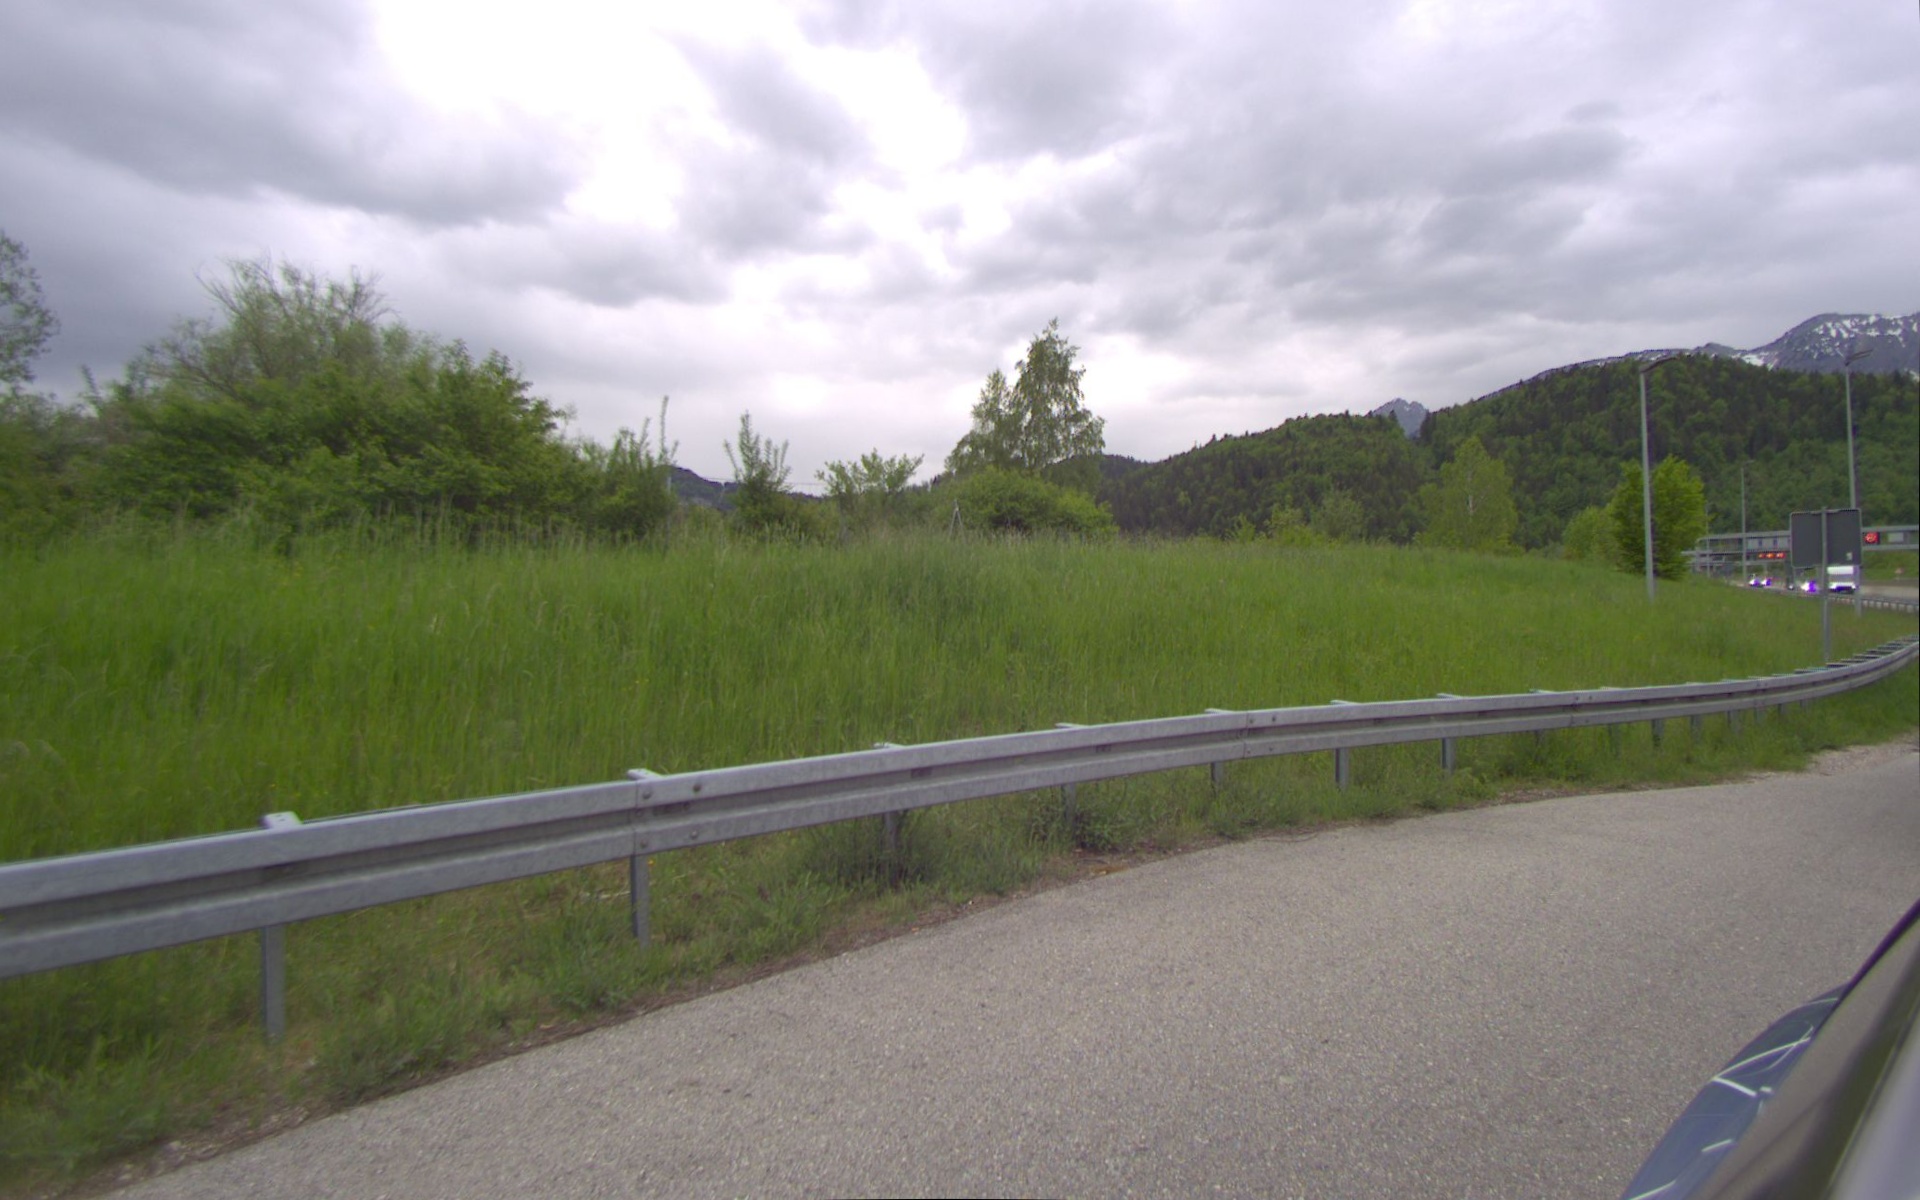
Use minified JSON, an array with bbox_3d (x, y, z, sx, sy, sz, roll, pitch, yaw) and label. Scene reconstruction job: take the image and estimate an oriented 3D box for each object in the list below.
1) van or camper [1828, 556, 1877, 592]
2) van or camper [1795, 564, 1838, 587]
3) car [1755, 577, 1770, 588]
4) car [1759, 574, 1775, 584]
[{"bbox_3d":[87.680,-2.564,99.505,2.565,3.434,7.269,1,1,33],"label":"van or camper"},{"bbox_3d":[106.419,-3.011,125.875,3.322,2.677,8.098,1,1,35],"label":"van or camper"},{"bbox_3d":[132.470,-2.884,167.012,1.858,1.895,3.946,1,1,37],"label":"car"},{"bbox_3d":[133.615,-3.460,167.541,1.710,1.659,4.296,1,2,34],"label":"car"}]
